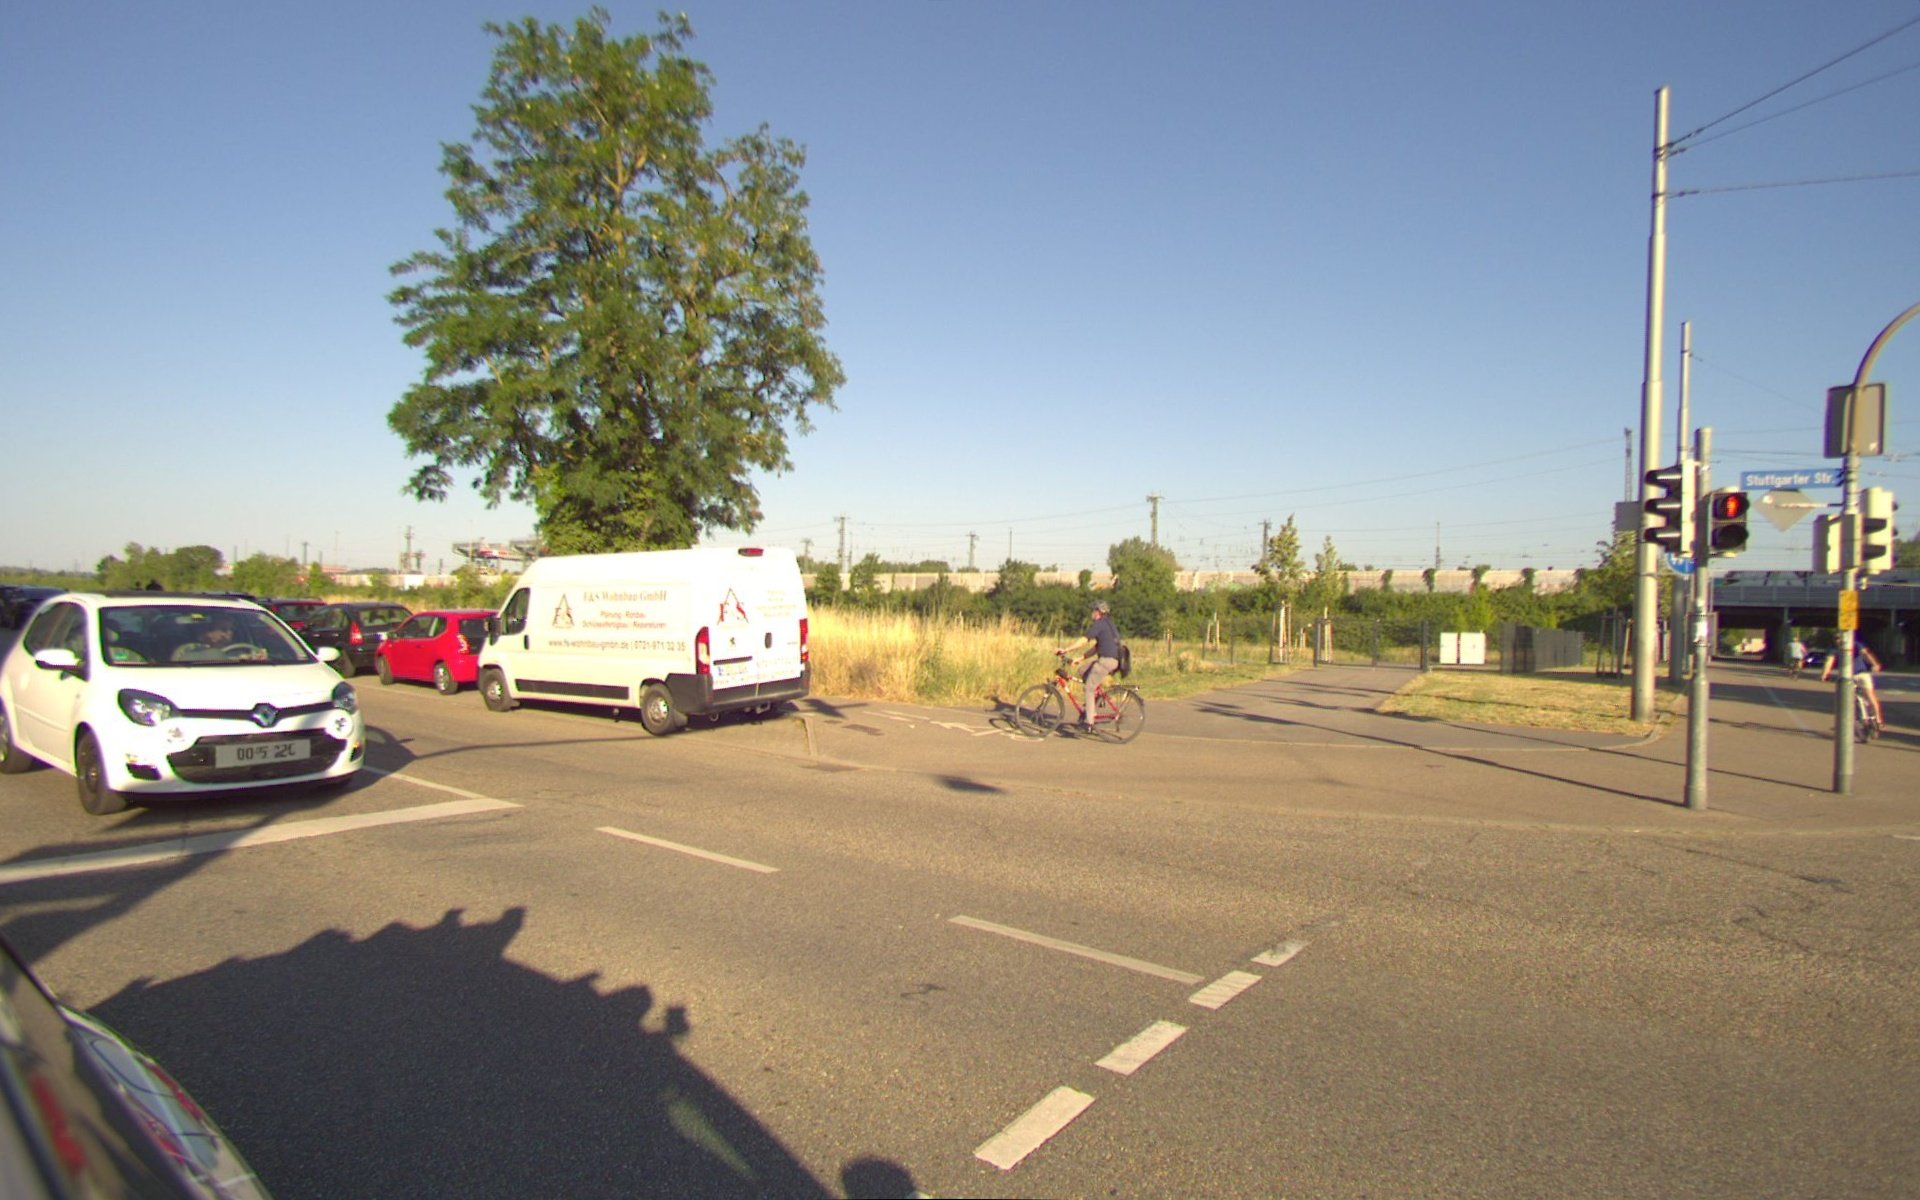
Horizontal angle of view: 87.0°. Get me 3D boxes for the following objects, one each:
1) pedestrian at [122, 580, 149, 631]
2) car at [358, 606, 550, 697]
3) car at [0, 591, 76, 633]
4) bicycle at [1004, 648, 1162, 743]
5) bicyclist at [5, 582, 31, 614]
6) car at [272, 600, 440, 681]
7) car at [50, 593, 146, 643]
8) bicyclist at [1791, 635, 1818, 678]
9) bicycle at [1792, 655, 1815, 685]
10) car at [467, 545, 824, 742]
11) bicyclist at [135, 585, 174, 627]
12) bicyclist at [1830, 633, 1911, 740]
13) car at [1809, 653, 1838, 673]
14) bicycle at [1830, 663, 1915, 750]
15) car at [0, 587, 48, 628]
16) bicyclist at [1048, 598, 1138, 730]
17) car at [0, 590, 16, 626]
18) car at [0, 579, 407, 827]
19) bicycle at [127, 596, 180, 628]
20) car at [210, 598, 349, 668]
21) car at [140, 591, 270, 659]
[{"bbox_3d":[-33.354,0.219,40.926,0.728,2.029,0.608,1,-2,35],"label":"pedestrian"},{"bbox_3d":[-9.587,0.914,19.103,3.687,1.498,1.725,1,-1,36],"label":"car"},{"bbox_3d":[-35.747,0.450,39.078,4.287,1.537,1.800,1,-2,41],"label":"car"},{"bbox_3d":[1.614,1.216,13.251,1.934,1.101,0.749,1,-1,20],"label":"bicycle"},{"bbox_3d":[-48.245,-0.107,51.820,1.145,1.609,0.759,1,-2,39],"label":"bicyclist"},{"bbox_3d":[-13.035,0.827,21.780,3.809,1.541,1.725,1,-2,36],"label":"car"},{"bbox_3d":[-28.671,0.585,33.645,3.577,1.537,1.686,1,-2,38],"label":"car"},{"bbox_3d":[32.368,2.163,38.788,0.777,1.618,0.845,1,-2,41],"label":"bicyclist"},{"bbox_3d":[32.374,2.660,38.833,0.663,1.077,1.992,1,-2,40],"label":"bicycle"},{"bbox_3d":[-4.815,0.493,15.110,5.549,2.454,2.210,1,1,35],"label":"car"},{"bbox_3d":[-31.132,0.234,39.102,1.144,1.609,0.856,1,-2,36],"label":"bicyclist"},{"bbox_3d":[14.050,1.301,15.643,0.851,1.559,1.008,1,-2,39],"label":"bicyclist"},{"bbox_3d":[83.201,6.031,97.545,1.998,1.716,3.948,0,-2,38],"label":"car"},{"bbox_3d":[13.991,1.589,15.569,0.792,1.158,2.263,1,-2,38],"label":"bicycle"},{"bbox_3d":[-40.162,0.303,42.685,4.214,1.650,1.802,1,-2,38],"label":"car"},{"bbox_3d":[1.756,0.812,13.308,0.966,1.637,0.872,1,-1,21],"label":"bicyclist"},{"bbox_3d":[-44.486,0.313,45.892,4.214,1.586,1.802,1,-2,38],"label":"car"},{"bbox_3d":[-6.092,0.623,7.847,3.768,1.480,1.685,1,-1,36],"label":"car"},{"bbox_3d":[-31.183,0.461,39.120,2.476,1.197,0.929,1,-1,35],"label":"bicycle"},{"bbox_3d":[-16.445,0.772,24.418,3.572,1.541,1.644,1,-2,36],"label":"car"},{"bbox_3d":[-20.223,0.644,27.064,3.998,1.672,1.644,1,-2,36],"label":"car"}]
